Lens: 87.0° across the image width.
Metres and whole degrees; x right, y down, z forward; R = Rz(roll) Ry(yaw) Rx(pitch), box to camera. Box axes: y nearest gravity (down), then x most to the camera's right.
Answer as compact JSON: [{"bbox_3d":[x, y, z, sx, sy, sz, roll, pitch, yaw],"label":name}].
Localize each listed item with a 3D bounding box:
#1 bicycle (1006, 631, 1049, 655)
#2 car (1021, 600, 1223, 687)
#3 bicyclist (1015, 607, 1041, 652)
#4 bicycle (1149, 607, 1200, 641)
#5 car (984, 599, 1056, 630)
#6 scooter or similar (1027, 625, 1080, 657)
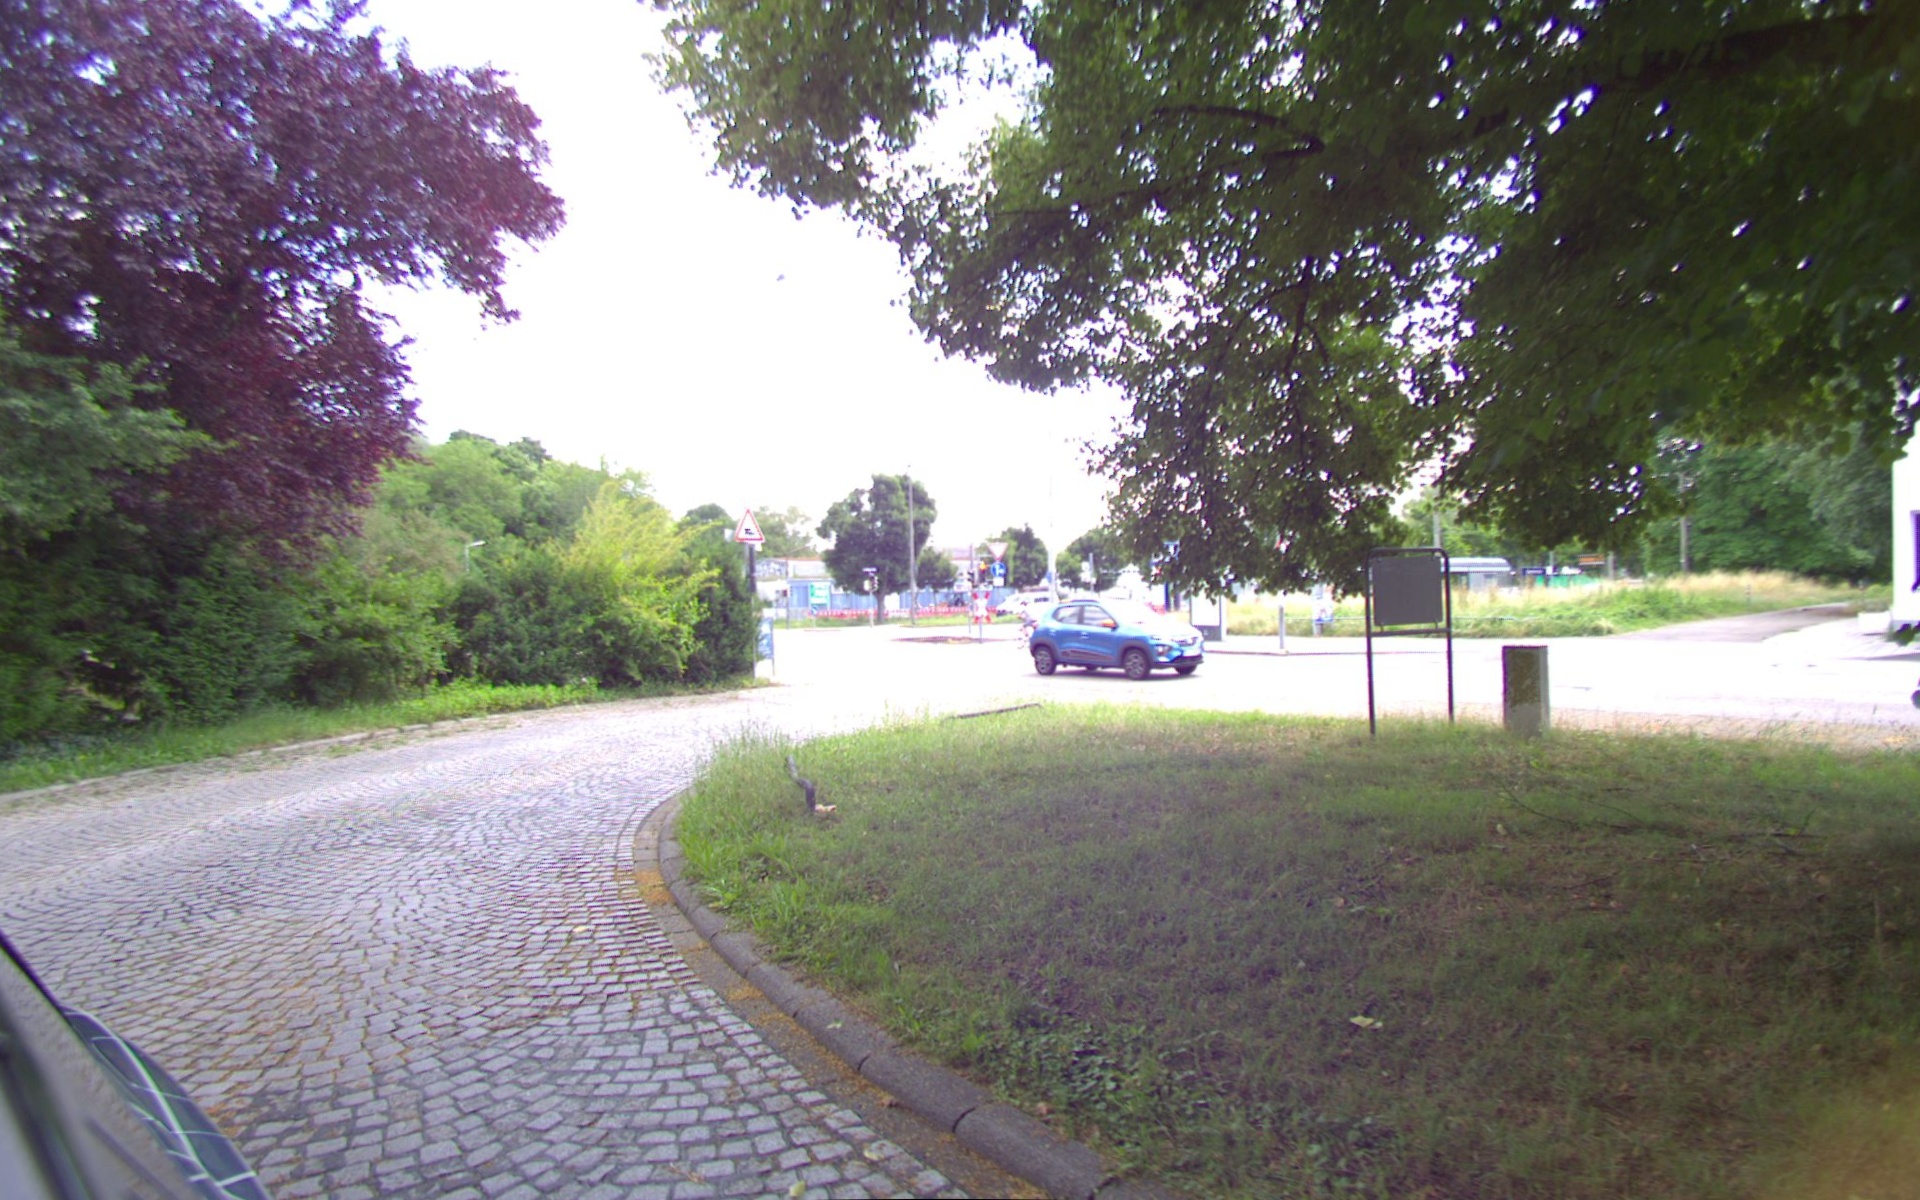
[{"bbox_3d":[2.300,1.462,34.664,0.546,0.771,1.733,-1,0,-31],"label":"bicycle"},{"bbox_3d":[3.035,0.812,19.571,1.580,1.475,3.709,-1,-1,-39],"label":"car"},{"bbox_3d":[2.314,1.005,34.617,0.447,1.486,0.844,-1,0,-31],"label":"bicyclist"},{"bbox_3d":[7.713,0.863,36.451,1.650,1.141,0.696,-3,-1,23],"label":"bicycle"},{"bbox_3d":[4.233,0.988,70.883,4.751,2.029,2.006,-2,0,-32],"label":"car"},{"bbox_3d":[3.062,1.332,33.251,0.946,0.987,1.584,-1,-1,-30],"label":"scooter or similar"}]
